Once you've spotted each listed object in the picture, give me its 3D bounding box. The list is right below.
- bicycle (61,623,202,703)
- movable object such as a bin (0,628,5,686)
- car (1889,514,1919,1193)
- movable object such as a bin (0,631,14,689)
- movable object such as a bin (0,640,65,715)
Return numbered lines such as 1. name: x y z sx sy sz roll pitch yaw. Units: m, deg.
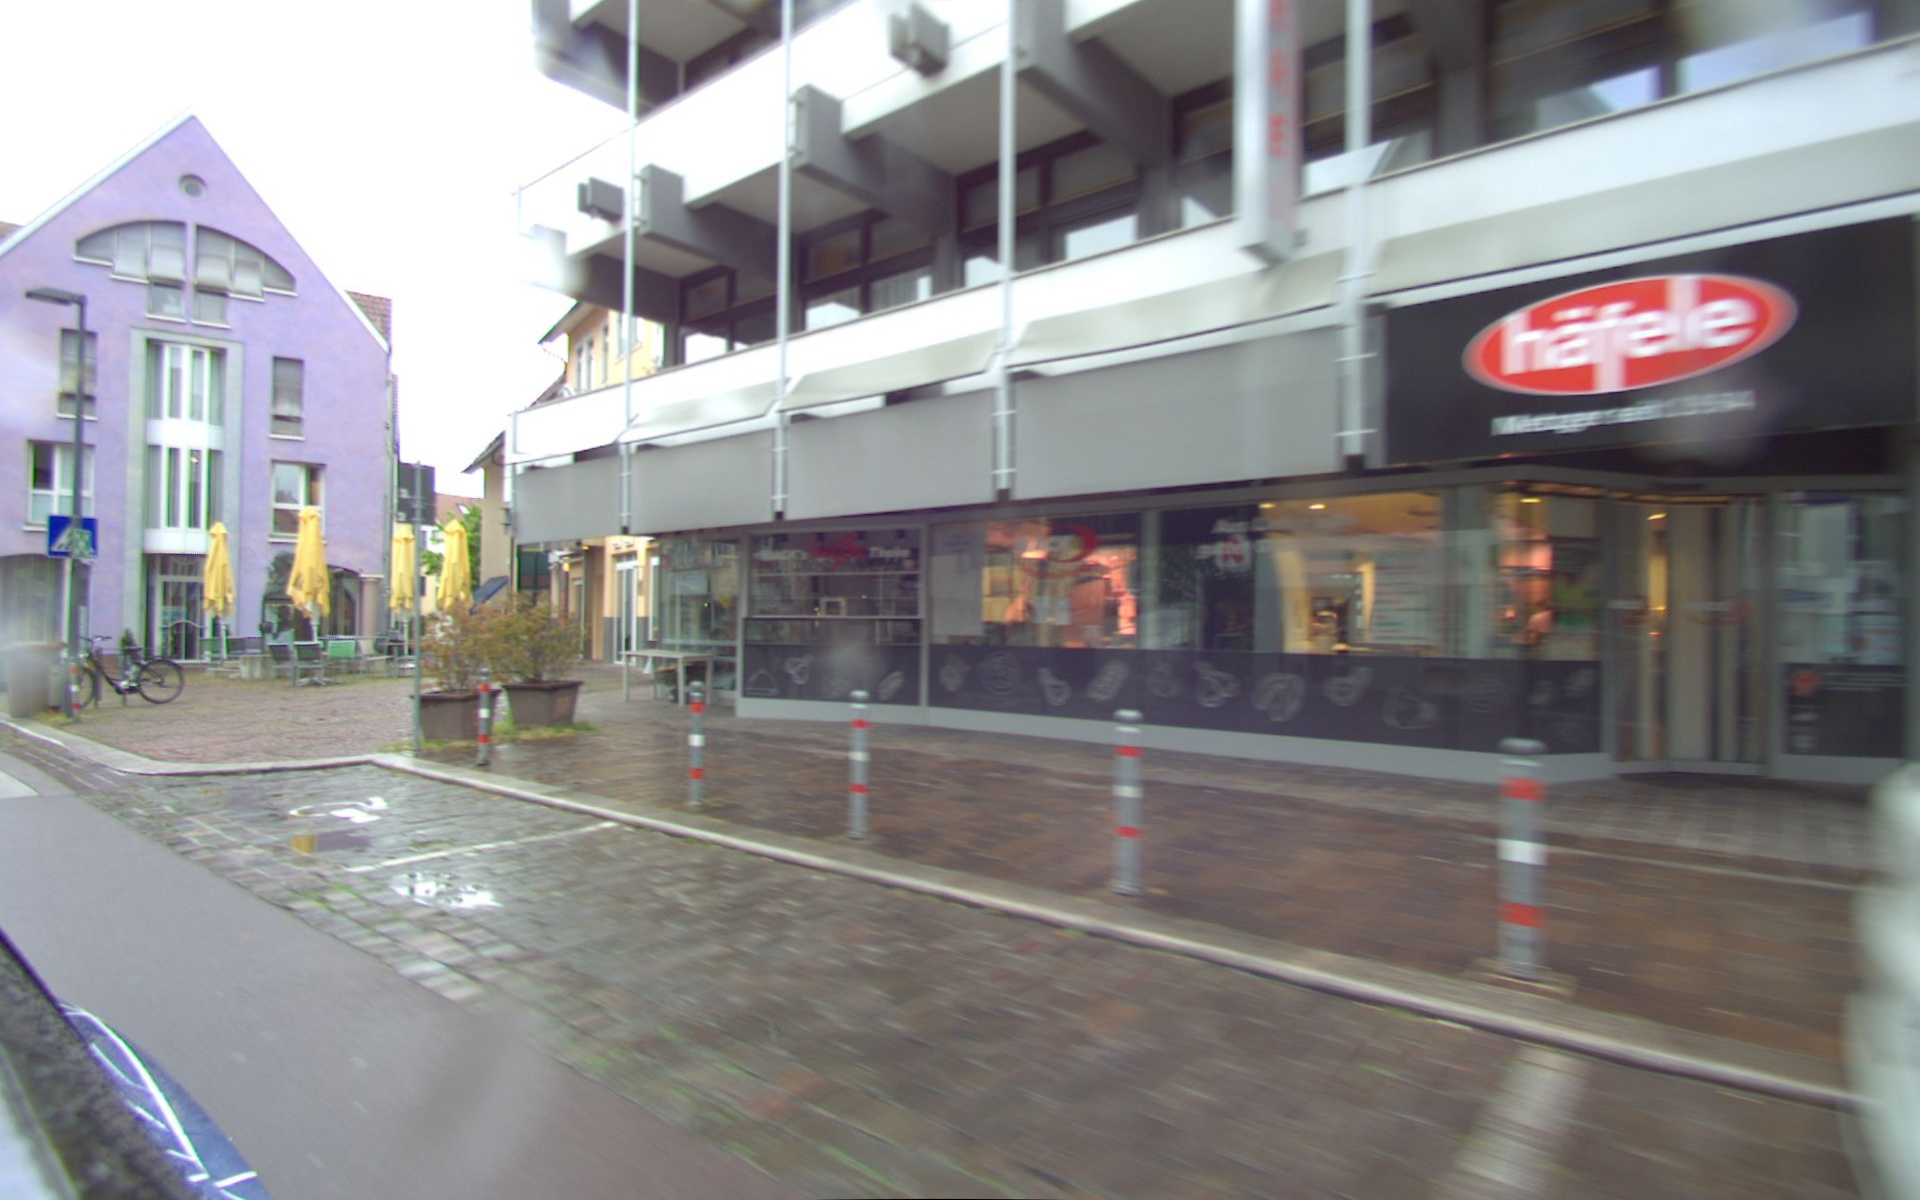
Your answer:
1. bicycle: -13.180 0.976 16.159 0.441 1.173 1.740 2 0 20
2. movable object such as a bin: -18.477 1.063 18.955 0.667 1.084 0.681 0 -1 31
3. car: 3.514 0.579 0.780 3.996 1.562 1.774 -1 1 40
4. movable object such as a bin: -17.891 1.098 18.510 0.667 1.050 0.681 0 -1 31
5. movable object such as a bin: -13.591 1.108 14.698 0.628 1.028 0.683 0 -1 23
